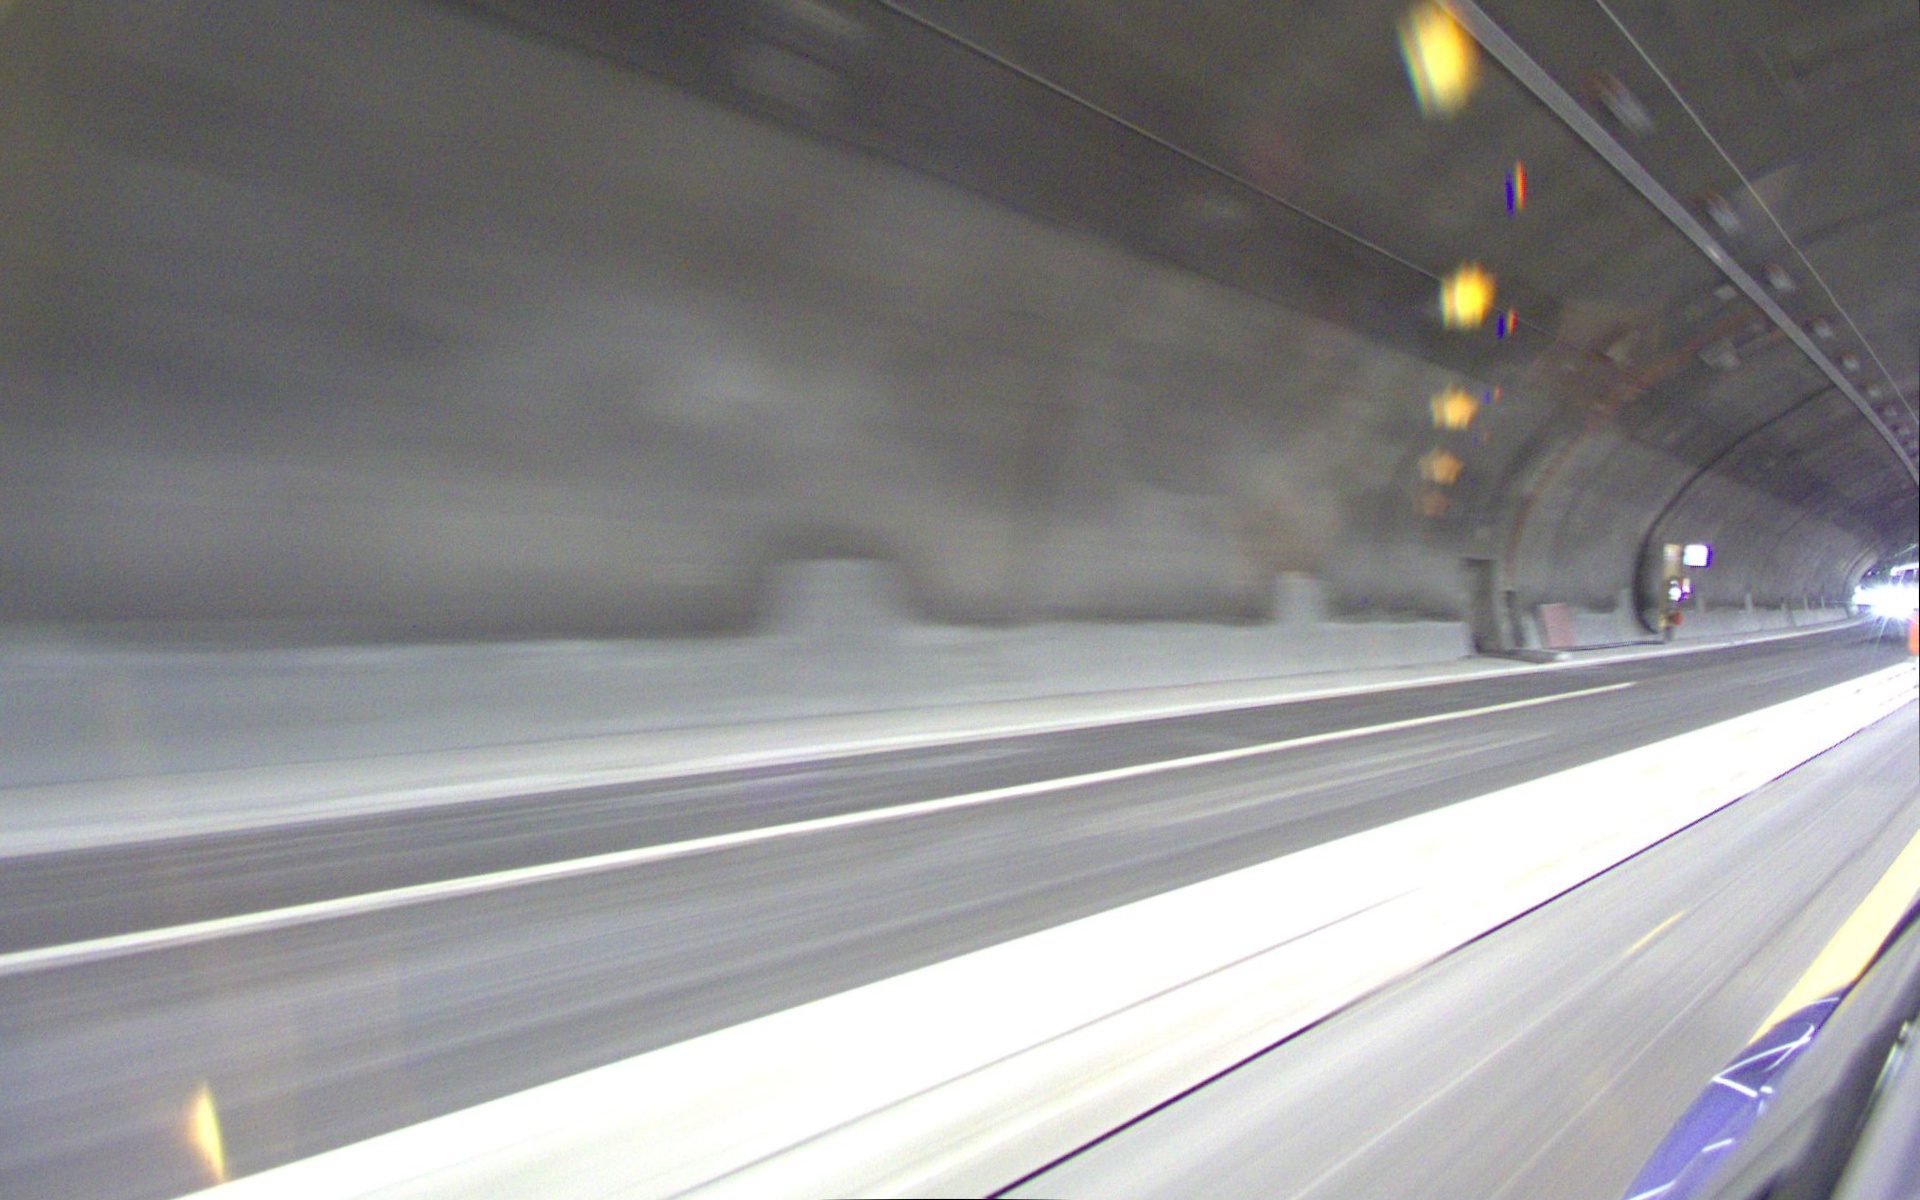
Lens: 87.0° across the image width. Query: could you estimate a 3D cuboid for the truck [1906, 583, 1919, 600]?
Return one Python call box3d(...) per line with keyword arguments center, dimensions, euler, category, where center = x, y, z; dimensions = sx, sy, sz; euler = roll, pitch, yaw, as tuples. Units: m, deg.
box3d(center=(161.946, -1.394, 171.010), dimensions=(2.600, 2.773, 6.304), euler=(1, 1, 40), category="truck")
